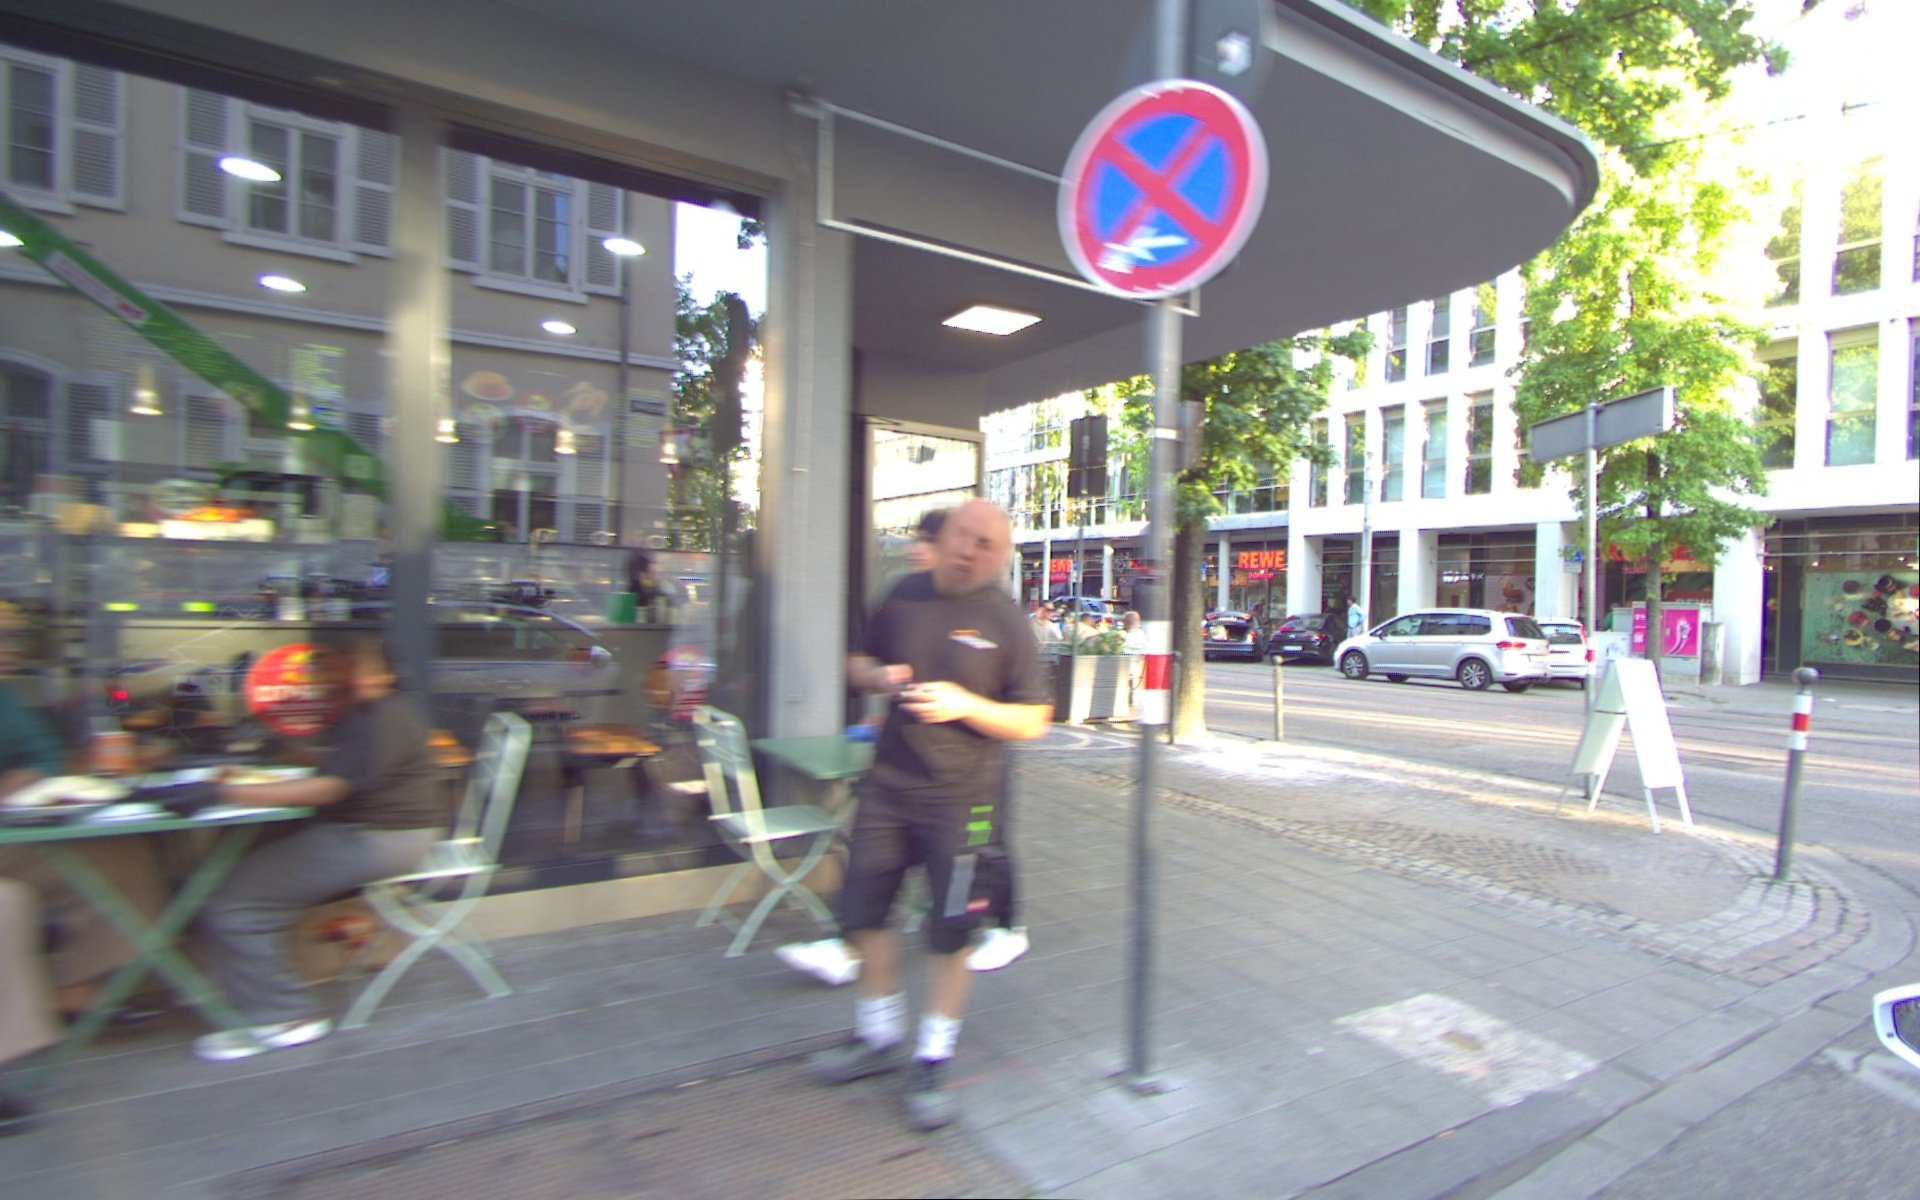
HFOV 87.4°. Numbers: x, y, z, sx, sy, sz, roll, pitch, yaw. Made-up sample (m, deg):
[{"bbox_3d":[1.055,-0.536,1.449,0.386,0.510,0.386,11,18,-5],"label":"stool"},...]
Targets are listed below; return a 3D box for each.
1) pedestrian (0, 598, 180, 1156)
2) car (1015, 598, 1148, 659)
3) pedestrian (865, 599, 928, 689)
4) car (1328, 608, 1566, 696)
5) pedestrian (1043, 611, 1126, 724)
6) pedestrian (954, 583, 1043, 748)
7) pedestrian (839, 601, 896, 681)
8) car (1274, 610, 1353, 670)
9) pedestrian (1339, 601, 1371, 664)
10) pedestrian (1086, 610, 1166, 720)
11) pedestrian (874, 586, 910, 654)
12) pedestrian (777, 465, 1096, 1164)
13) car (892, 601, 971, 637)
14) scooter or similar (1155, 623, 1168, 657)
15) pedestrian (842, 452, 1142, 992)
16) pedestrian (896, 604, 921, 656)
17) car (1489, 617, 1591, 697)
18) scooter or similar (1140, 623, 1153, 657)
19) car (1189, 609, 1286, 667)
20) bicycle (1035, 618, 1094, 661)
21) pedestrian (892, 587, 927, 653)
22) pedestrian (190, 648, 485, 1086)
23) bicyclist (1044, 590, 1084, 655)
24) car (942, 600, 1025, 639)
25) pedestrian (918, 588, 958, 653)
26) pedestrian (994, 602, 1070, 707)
[{"bbox_3d":[-2.517,0.654,2.601,0.706,1.293,0.698,1,2,-32],"label":"pedestrian"},{"bbox_3d":[3.819,0.869,32.173,1.851,1.760,4.242,4,-1,-35],"label":"car"},{"bbox_3d":[-1.031,0.689,16.196,0.724,1.377,0.706,1,2,-36],"label":"pedestrian"},{"bbox_3d":[10.268,1.052,21.498,1.808,1.613,4.248,3,-1,-31],"label":"car"},{"bbox_3d":[1.580,0.835,12.804,0.707,1.346,0.724,1,2,-36],"label":"pedestrian"},{"bbox_3d":[0.379,0.638,10.096,0.741,1.593,0.600,1,-1,-17],"label":"pedestrian"},{"bbox_3d":[-1.654,0.716,17.995,0.724,1.377,0.706,1,2,-36],"label":"pedestrian"},{"bbox_3d":[10.470,1.123,29.635,1.562,1.526,3.584,0,2,30],"label":"car"},{"bbox_3d":[10.618,0.870,27.000,0.631,1.649,0.640,1,1,37],"label":"pedestrian"},{"bbox_3d":[2.198,0.836,13.290,0.724,1.377,0.706,1,2,-36],"label":"pedestrian"},{"bbox_3d":[-1.967,0.571,28.980,0.703,1.927,1.062,1,-1,-26],"label":"pedestrian"},{"bbox_3d":[-0.055,0.509,2.794,0.674,1.690,0.506,3,1,25],"label":"pedestrian"},{"bbox_3d":[-1.290,0.884,47.614,1.916,1.526,3.989,-1,1,31],"label":"car"},{"bbox_3d":[6.886,1.355,34.353,0.382,1.085,1.807,1,0,11],"label":"scooter or similar"},{"bbox_3d":[0.064,0.392,3.594,0.886,1.690,0.797,2,1,-9],"label":"pedestrian"},{"bbox_3d":[-2.023,1.187,39.666,0.642,2.040,0.788,1,0,-35],"label":"pedestrian"},{"bbox_3d":[13.515,1.236,23.427,1.916,1.526,3.989,0,1,31],"label":"car"},{"bbox_3d":[6.424,1.357,34.620,0.382,1.085,1.807,1,0,11],"label":"scooter or similar"},{"bbox_3d":[8.617,1.115,30.976,1.916,1.526,3.989,0,1,31],"label":"car"},{"bbox_3d":[3.074,1.150,29.681,0.507,1.166,2.036,1,0,-35],"label":"bicycle"},{"bbox_3d":[-1.520,0.598,30.179,0.703,1.927,1.062,1,-1,-26],"label":"pedestrian"},{"bbox_3d":[-1.906,0.739,3.120,0.706,1.129,0.569,1,2,-32],"label":"pedestrian"},{"bbox_3d":[3.073,0.653,29.699,0.648,1.880,0.982,1,0,-34],"label":"bicyclist"},{"bbox_3d":[1.068,0.846,43.956,1.916,1.526,3.989,-1,1,31],"label":"car"},{"bbox_3d":[-0.672,0.611,30.432,0.816,1.927,1.062,1,-1,-26],"label":"pedestrian"},{"bbox_3d":[0.987,0.734,13.856,0.724,1.377,0.706,1,2,-36],"label":"pedestrian"}]
